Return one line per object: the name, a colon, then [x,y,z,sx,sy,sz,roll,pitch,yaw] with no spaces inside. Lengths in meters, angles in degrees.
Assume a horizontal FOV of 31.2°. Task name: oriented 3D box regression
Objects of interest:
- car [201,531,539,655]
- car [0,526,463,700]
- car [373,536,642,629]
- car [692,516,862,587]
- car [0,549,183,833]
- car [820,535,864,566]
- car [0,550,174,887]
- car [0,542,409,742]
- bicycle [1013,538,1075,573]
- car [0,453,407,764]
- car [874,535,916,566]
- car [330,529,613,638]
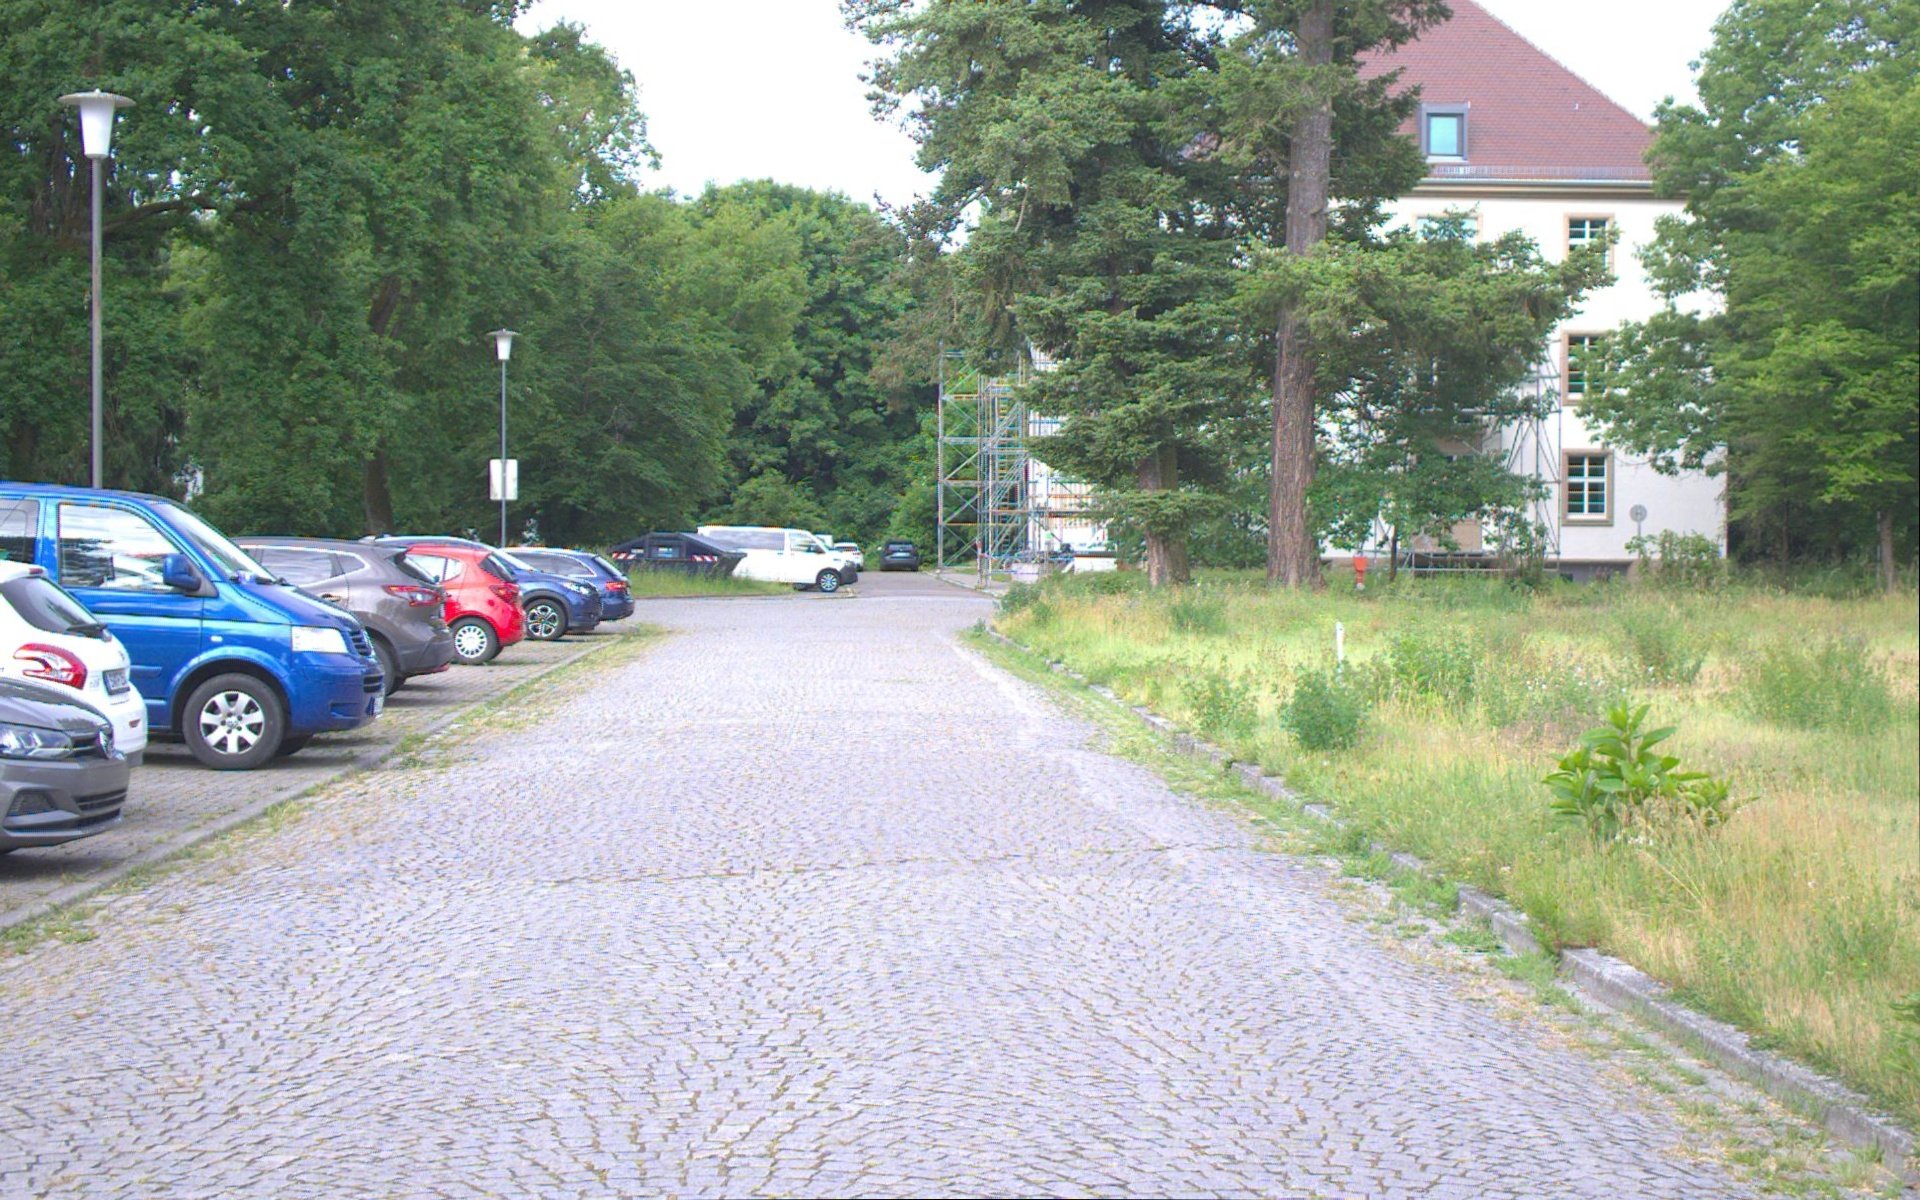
car: [-7.451,-0.109,43.718,4.054,1.520,1.905,0,1,-3]
car: [-6.992,0.106,33.357,4.165,1.616,1.987,0,1,-4]
car: [-7.686,-0.314,58.689,4.302,1.456,1.975,1,1,-1]
car: [-5.744,-1.515,107.588,5.234,2.160,2.000,0,1,-4]
car: [-6.570,0.464,19.190,4.067,1.492,1.846,0,1,-1]
car: [-5.957,-2.488,173.612,2.118,1.516,4.001,0,1,-3]
car: [-6.008,0.507,16.244,4.166,1.486,1.865,0,1,0]
car: [-6.519,0.305,27.078,4.165,1.505,1.782,0,1,-4]
bicycle: [3.041,-1.635,125.090,2.240,1.250,0.777,0,1,0]
car: [-6.468,0.033,24.483,4.781,2.115,2.115,0,1,-3]
car: [-3.292,-2.491,173.991,1.951,1.516,4.001,0,1,-4]
car: [-7.628,-0.267,53.962,4.227,1.571,1.887,1,1,-3]
